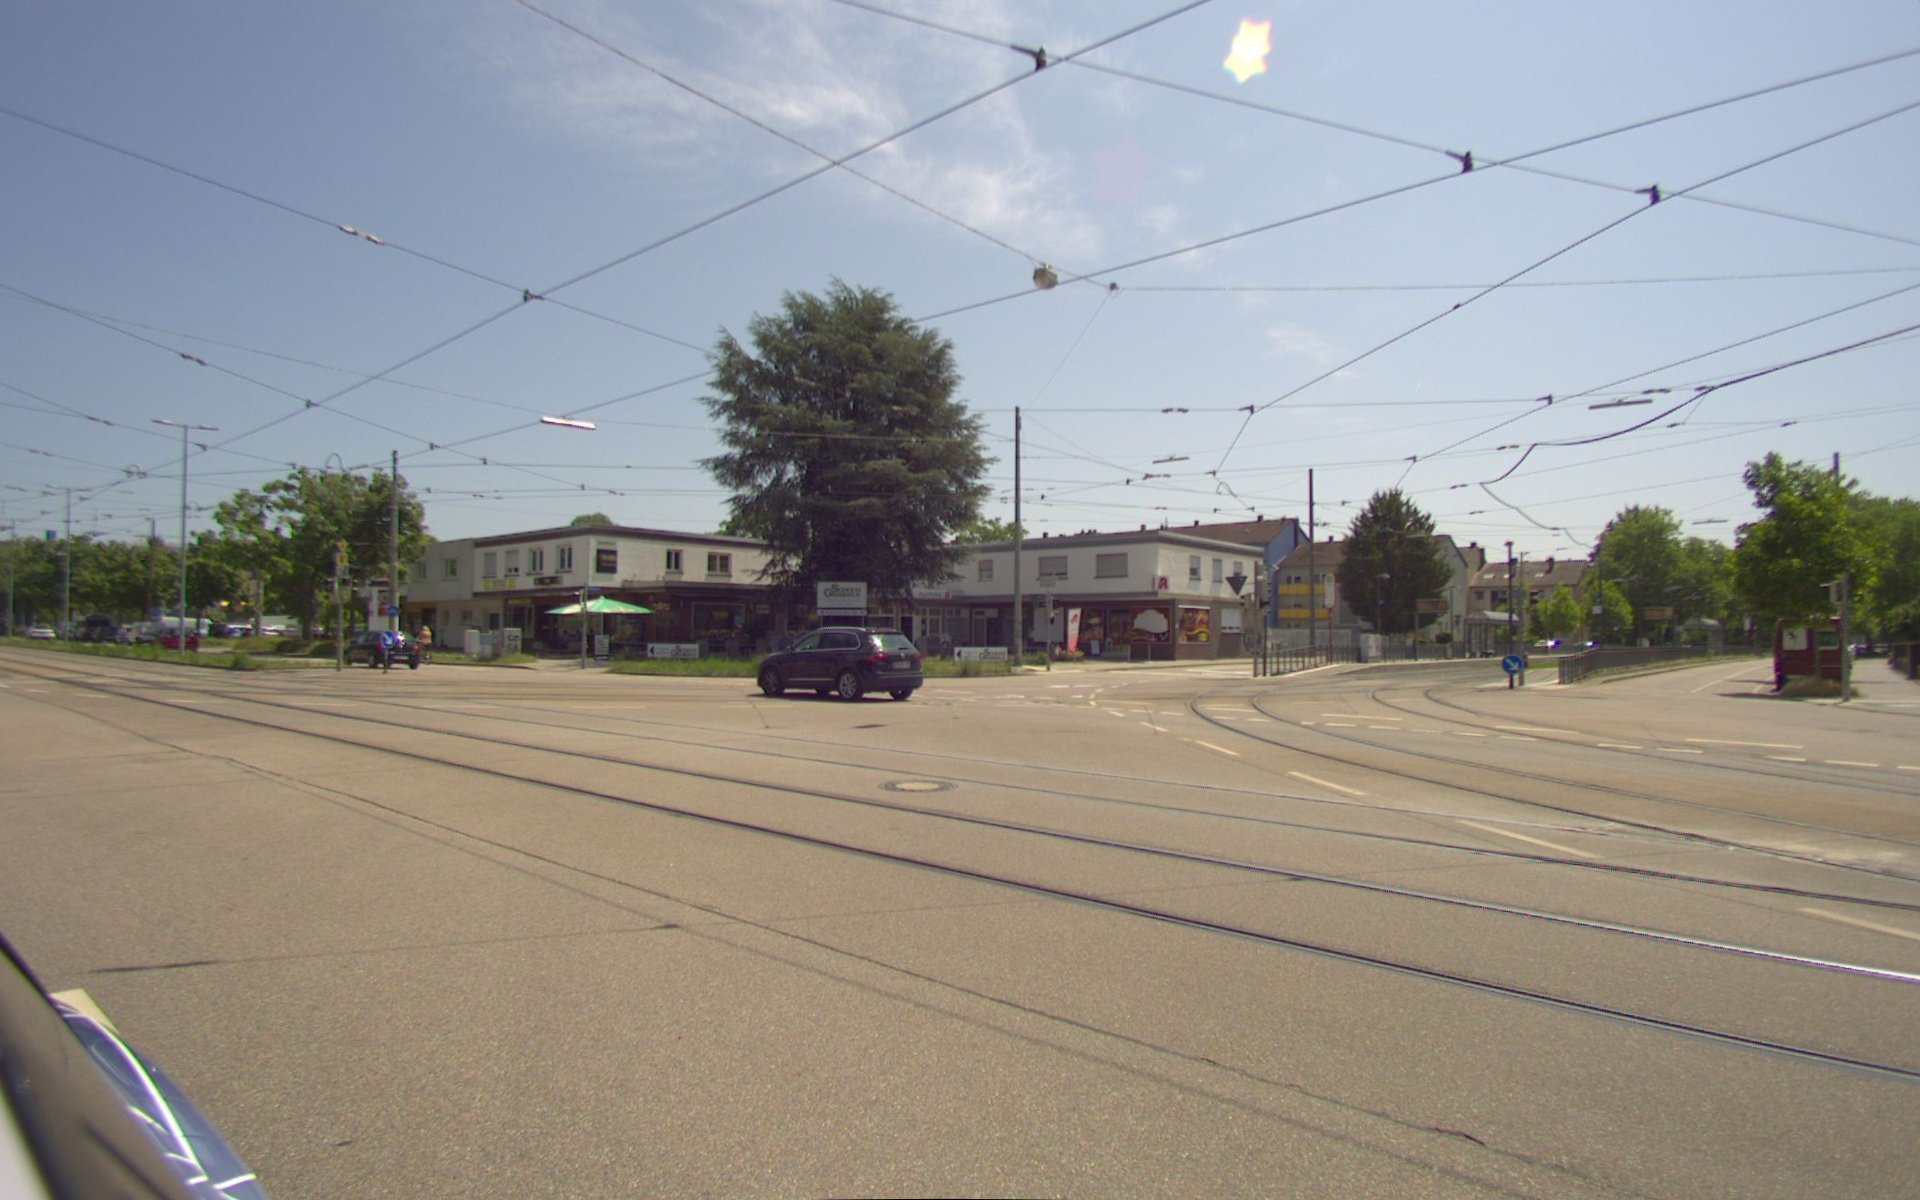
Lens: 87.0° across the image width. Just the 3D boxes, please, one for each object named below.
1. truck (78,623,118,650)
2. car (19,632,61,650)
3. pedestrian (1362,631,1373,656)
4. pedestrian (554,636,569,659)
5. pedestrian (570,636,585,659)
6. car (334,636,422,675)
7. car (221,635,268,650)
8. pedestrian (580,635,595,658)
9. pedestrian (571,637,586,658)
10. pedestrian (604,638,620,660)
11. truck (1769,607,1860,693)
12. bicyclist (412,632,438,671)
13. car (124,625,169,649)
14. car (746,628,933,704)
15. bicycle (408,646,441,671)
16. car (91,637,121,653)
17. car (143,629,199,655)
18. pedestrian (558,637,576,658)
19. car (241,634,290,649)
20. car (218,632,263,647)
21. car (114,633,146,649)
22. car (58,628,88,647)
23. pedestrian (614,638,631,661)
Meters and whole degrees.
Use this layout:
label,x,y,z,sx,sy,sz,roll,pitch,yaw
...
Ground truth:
label,x,y,z,sx,sy,sz,roll,pitch,yaw
truck,-82.806,3.488,97.224,4.927,2.561,2.196,-1,-3,41
car,-81.709,3.636,89.861,4.132,1.564,1.975,-1,-5,37
pedestrian,31.486,3.330,78.194,0.679,1.917,0.640,-2,-3,40
pedestrian,-21.716,2.568,55.089,0.491,1.248,0.569,-1,-3,40
pedestrian,-20.879,2.598,55.226,0.674,1.208,0.512,-1,-3,41
car,-22.777,2.133,39.573,3.861,1.449,1.693,-1,-3,39
car,-69.163,4.110,97.807,1.600,1.404,3.374,-1,-3,35
pedestrian,-20.481,2.561,55.659,0.674,1.218,0.512,-1,-3,41
pedestrian,-21.342,2.654,56.566,0.674,1.172,0.512,-1,-3,41
pedestrian,-17.988,2.531,52.362,0.674,1.136,0.512,-1,-3,41
truck,29.230,1.678,34.613,2.186,2.719,4.973,-2,-3,41
bicyclist,-24.831,2.379,46.959,1.136,1.779,0.687,-3,-4,40
car,-66.100,3.017,82.206,4.659,1.898,1.973,-1,-3,41
car,-2.846,1.456,23.253,4.494,1.591,1.774,-2,-3,43
bicycle,-24.859,2.705,46.971,1.930,1.157,0.687,-3,-4,40
car,-78.461,4.131,92.978,3.669,1.397,1.652,-1,-3,43
car,-46.672,2.467,59.866,3.822,1.495,1.609,-1,-3,37
pedestrian,-21.725,2.611,55.953,0.810,1.136,0.558,-1,-3,41
car,-64.022,3.813,93.310,1.600,1.404,3.374,-1,-3,35
car,-72.672,3.995,102.275,1.600,1.517,3.374,-1,-3,35
car,-70.960,3.495,86.499,3.568,1.397,1.652,-2,-3,43
car,-93.202,3.958,106.320,4.506,1.989,1.660,-2,-3,40
pedestrian,-17.152,2.516,51.462,0.674,1.136,0.512,-1,-3,41
